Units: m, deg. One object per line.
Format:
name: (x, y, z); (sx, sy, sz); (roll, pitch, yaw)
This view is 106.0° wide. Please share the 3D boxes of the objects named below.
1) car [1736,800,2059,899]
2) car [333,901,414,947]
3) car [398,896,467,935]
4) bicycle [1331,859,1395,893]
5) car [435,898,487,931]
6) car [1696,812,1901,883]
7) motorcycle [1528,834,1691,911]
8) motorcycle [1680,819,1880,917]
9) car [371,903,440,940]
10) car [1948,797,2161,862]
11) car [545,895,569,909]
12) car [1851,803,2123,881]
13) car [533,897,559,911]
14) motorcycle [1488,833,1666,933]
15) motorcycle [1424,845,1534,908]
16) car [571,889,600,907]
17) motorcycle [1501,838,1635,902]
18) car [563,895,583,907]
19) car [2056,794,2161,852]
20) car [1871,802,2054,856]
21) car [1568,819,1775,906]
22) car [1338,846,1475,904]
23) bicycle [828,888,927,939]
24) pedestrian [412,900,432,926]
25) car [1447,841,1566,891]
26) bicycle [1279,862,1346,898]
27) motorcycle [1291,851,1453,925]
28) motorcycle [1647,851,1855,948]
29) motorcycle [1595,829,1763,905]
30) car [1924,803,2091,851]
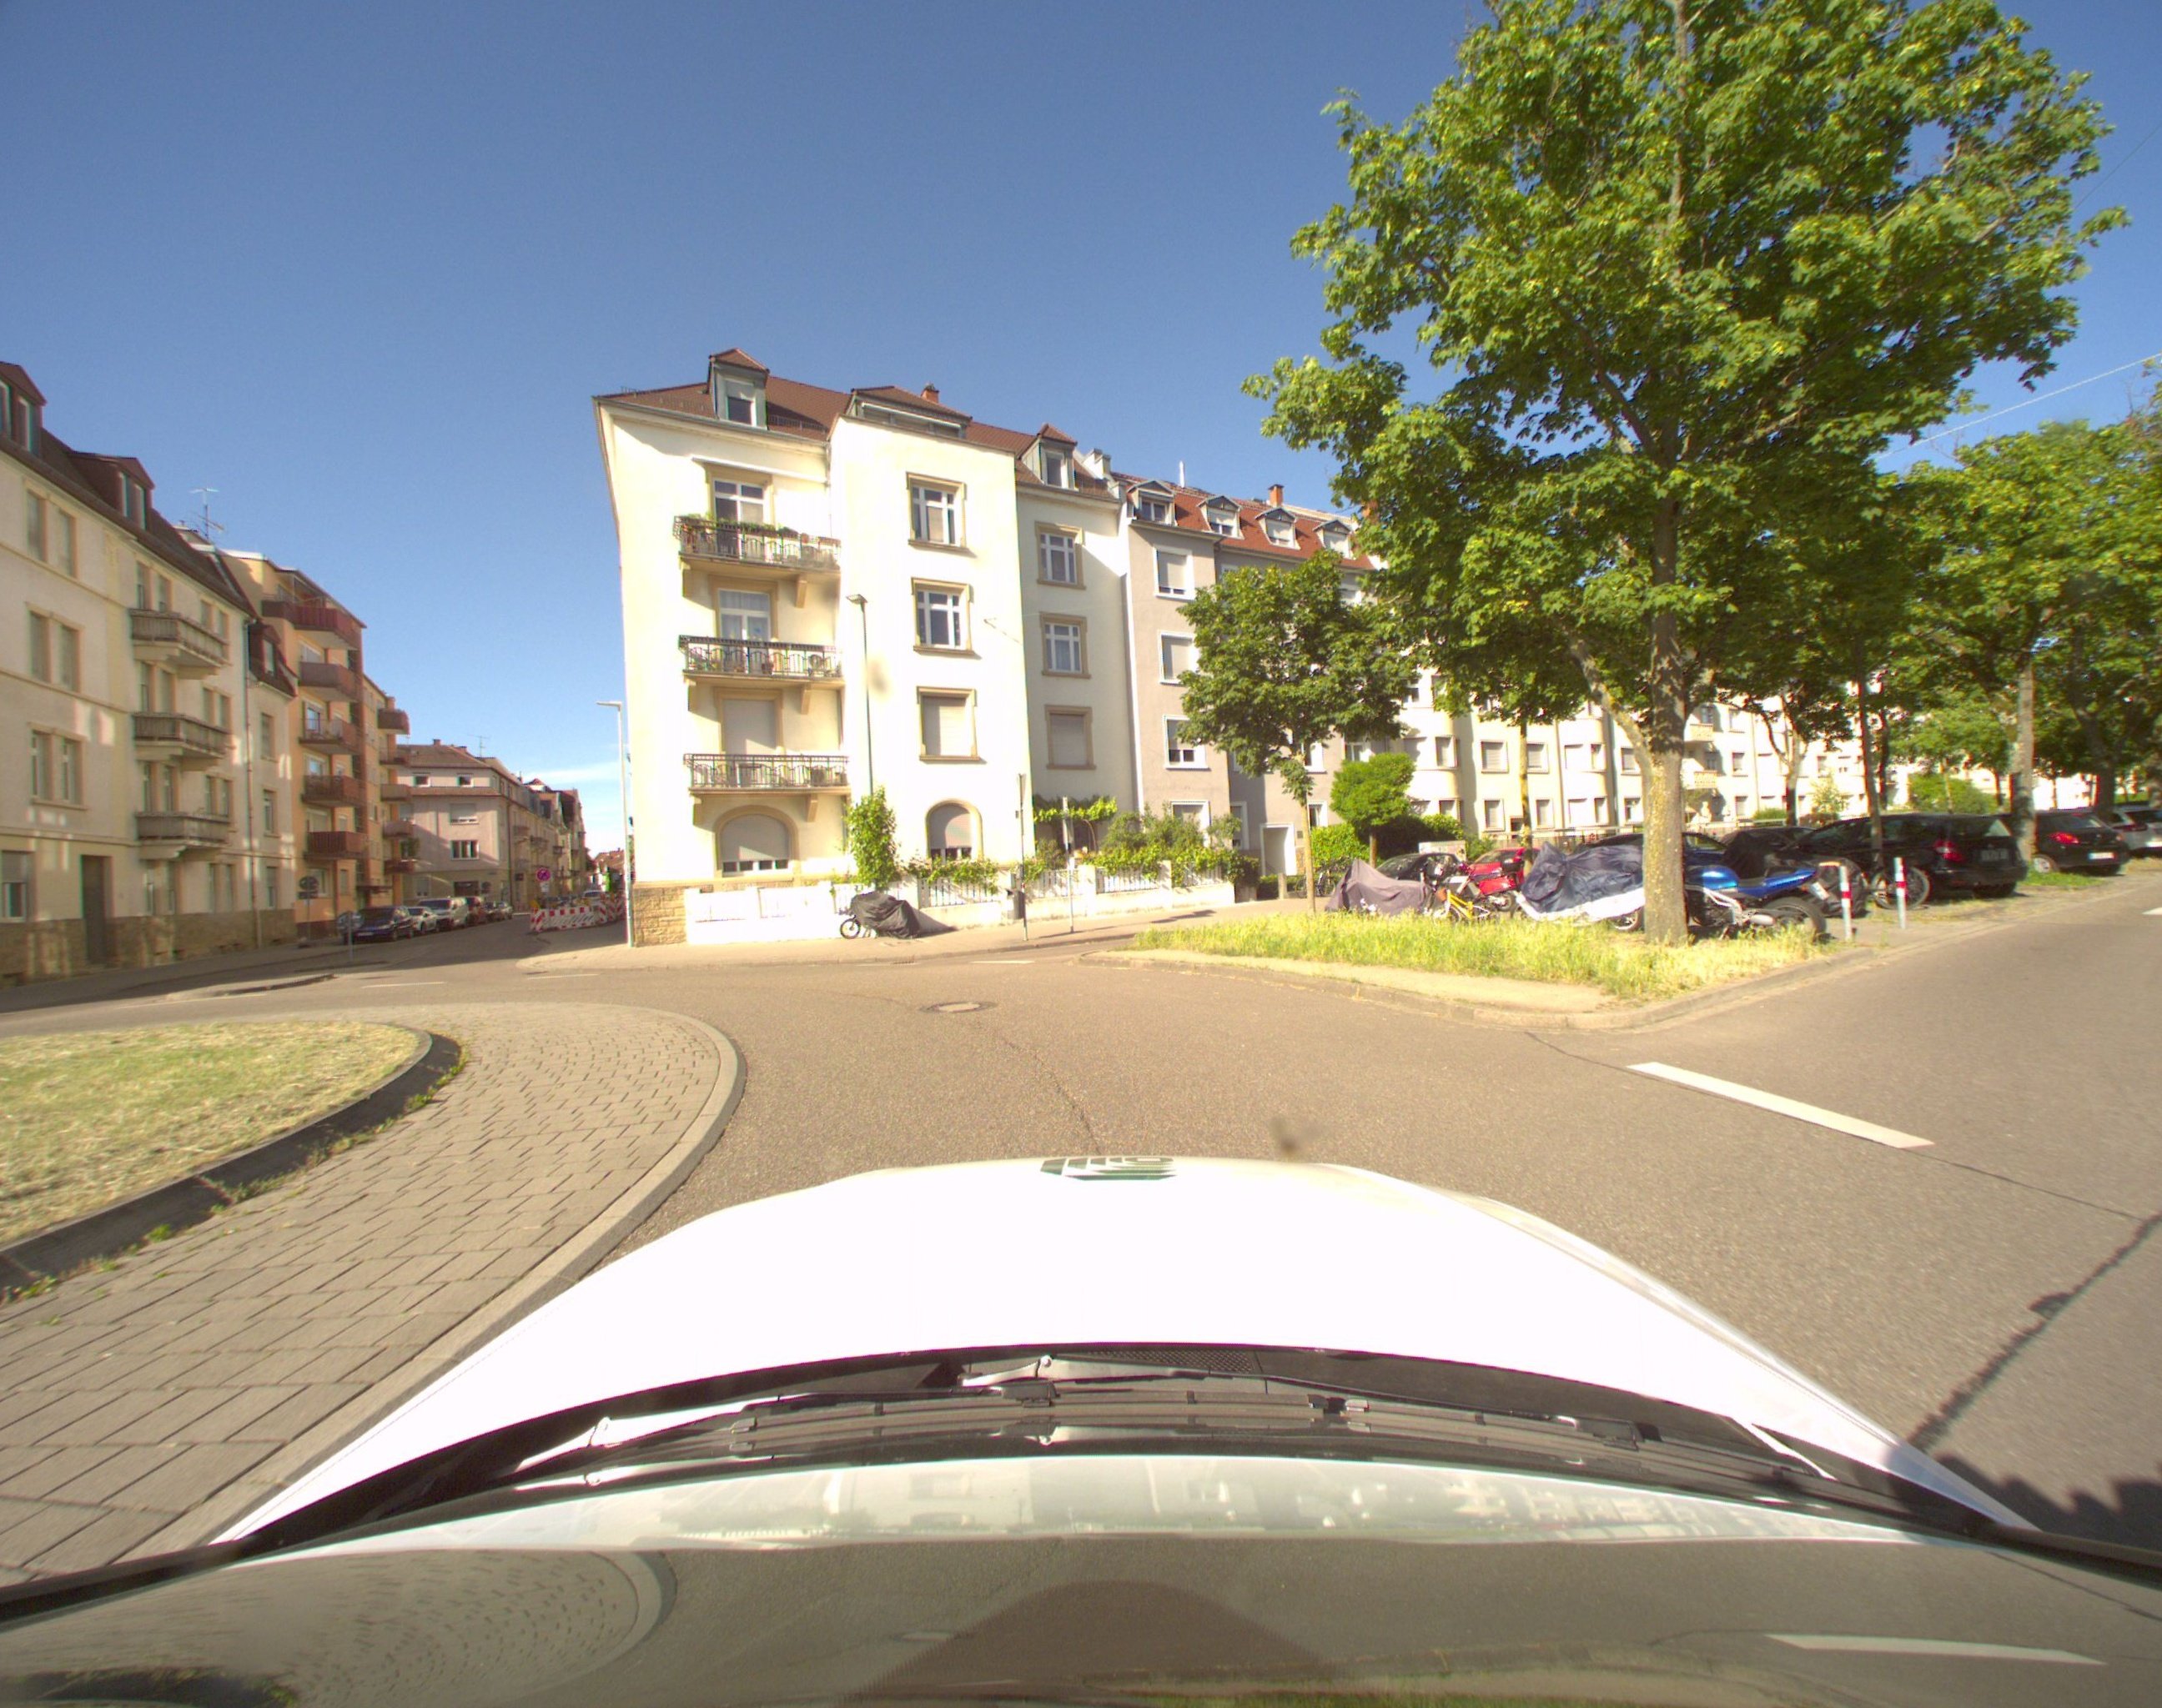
car: (15.600, -0.038, 15.917); (1.994, 1.598, 3.985); (-3, -1, -10)
car: (-32.226, 3.134, 37.210); (1.772, 1.771, 4.255); (-2, -1, -27)
car: (-36.888, 3.458, 46.473); (1.986, 1.925, 5.261); (-2, -1, -27)
bicycle: (9.952, 0.766, 28.745); (2.261, 1.059, 0.677); (-3, -1, -26)
car: (-39.889, 3.843, 52.469); (1.772, 1.925, 4.890); (-2, -1, -27)
car: (18.772, -0.122, 21.591); (1.698, 1.591, 3.995); (-3, -1, -3)
motorcycle: (9.693, 0.359, 15.049); (1.055, 1.267, 2.221); (-3, -1, -29)
motorcycle: (10.982, 0.234, 12.891); (1.066, 1.392, 2.106); (-3, -1, -30)
car: (-34.614, 3.407, 41.843); (1.772, 1.621, 4.256); (-2, -1, -27)
car: (27.222, -0.636, 22.615); (1.774, 1.548, 3.991); (-4, -1, -6)
car: (-61.424, 5.643, 95.534); (2.015, 1.582, 4.446); (0, -3, -28)
car: (21.393, -0.225, 19.514); (1.870, 1.598, 3.993); (-3, -1, -5)
car: (-56.560, 5.263, 86.173); (1.688, 1.427, 4.238); (0, -3, -25)
motorcycle: (7.352, 0.435, 12.184); (0.866, 1.328, 2.033); (-3, -1, -32)
motorcycle: (8.449, 0.487, 17.373); (0.892, 1.236, 1.876); (-3, -1, -29)
car: (-46.954, 4.166, 77.245); (1.848, 1.431, 3.993); (-4, -2, -26)
motorcycle: (10.564, 0.367, 17.751); (1.055, 1.267, 2.221); (-3, -1, -29)
car: (-68.567, 6.304, 109.980); (1.990, 1.483, 4.288); (0, -3, -28)
car: (33.410, -0.996, 25.271); (1.868, 1.723, 4.013); (-4, -1, 11)
car: (30.524, -0.817, 28.387); (1.876, 1.591, 3.995); (-3, -1, -3)
car: (13.109, 0.197, 18.413); (1.792, 1.640, 3.876); (-4, -1, 0)
car: (9.898, 0.630, 24.734); (3.969, 1.445, 1.736); (-3, -3, -31)
bicycle: (-5.096, 1.487, 20.378); (2.261, 1.157, 0.770); (-3, -2, 15)
pedestrian: (-47.934, 4.308, 59.258); (0.930, 1.817, 0.985); (-2, -2, -30)
car: (14.276, 0.390, 27.296); (3.867, 1.445, 1.736); (-3, 0, -31)
bicycle: (7.813, 0.871, 27.482); (2.261, 1.059, 0.677); (-3, -1, -26)
motorcycle: (5.561, 0.663, 15.799); (1.131, 1.267, 2.754); (-3, -1, -34)
motorcycle: (8.420, 0.542, 10.330); (0.816, 1.072, 1.828); (-3, 0, -28)
motorcycle: (11.011, 0.263, 15.107); (1.055, 1.267, 2.221); (-3, -1, -29)
car: (36.380, -1.000, 32.164); (1.876, 1.591, 3.995); (-3, -1, -3)
